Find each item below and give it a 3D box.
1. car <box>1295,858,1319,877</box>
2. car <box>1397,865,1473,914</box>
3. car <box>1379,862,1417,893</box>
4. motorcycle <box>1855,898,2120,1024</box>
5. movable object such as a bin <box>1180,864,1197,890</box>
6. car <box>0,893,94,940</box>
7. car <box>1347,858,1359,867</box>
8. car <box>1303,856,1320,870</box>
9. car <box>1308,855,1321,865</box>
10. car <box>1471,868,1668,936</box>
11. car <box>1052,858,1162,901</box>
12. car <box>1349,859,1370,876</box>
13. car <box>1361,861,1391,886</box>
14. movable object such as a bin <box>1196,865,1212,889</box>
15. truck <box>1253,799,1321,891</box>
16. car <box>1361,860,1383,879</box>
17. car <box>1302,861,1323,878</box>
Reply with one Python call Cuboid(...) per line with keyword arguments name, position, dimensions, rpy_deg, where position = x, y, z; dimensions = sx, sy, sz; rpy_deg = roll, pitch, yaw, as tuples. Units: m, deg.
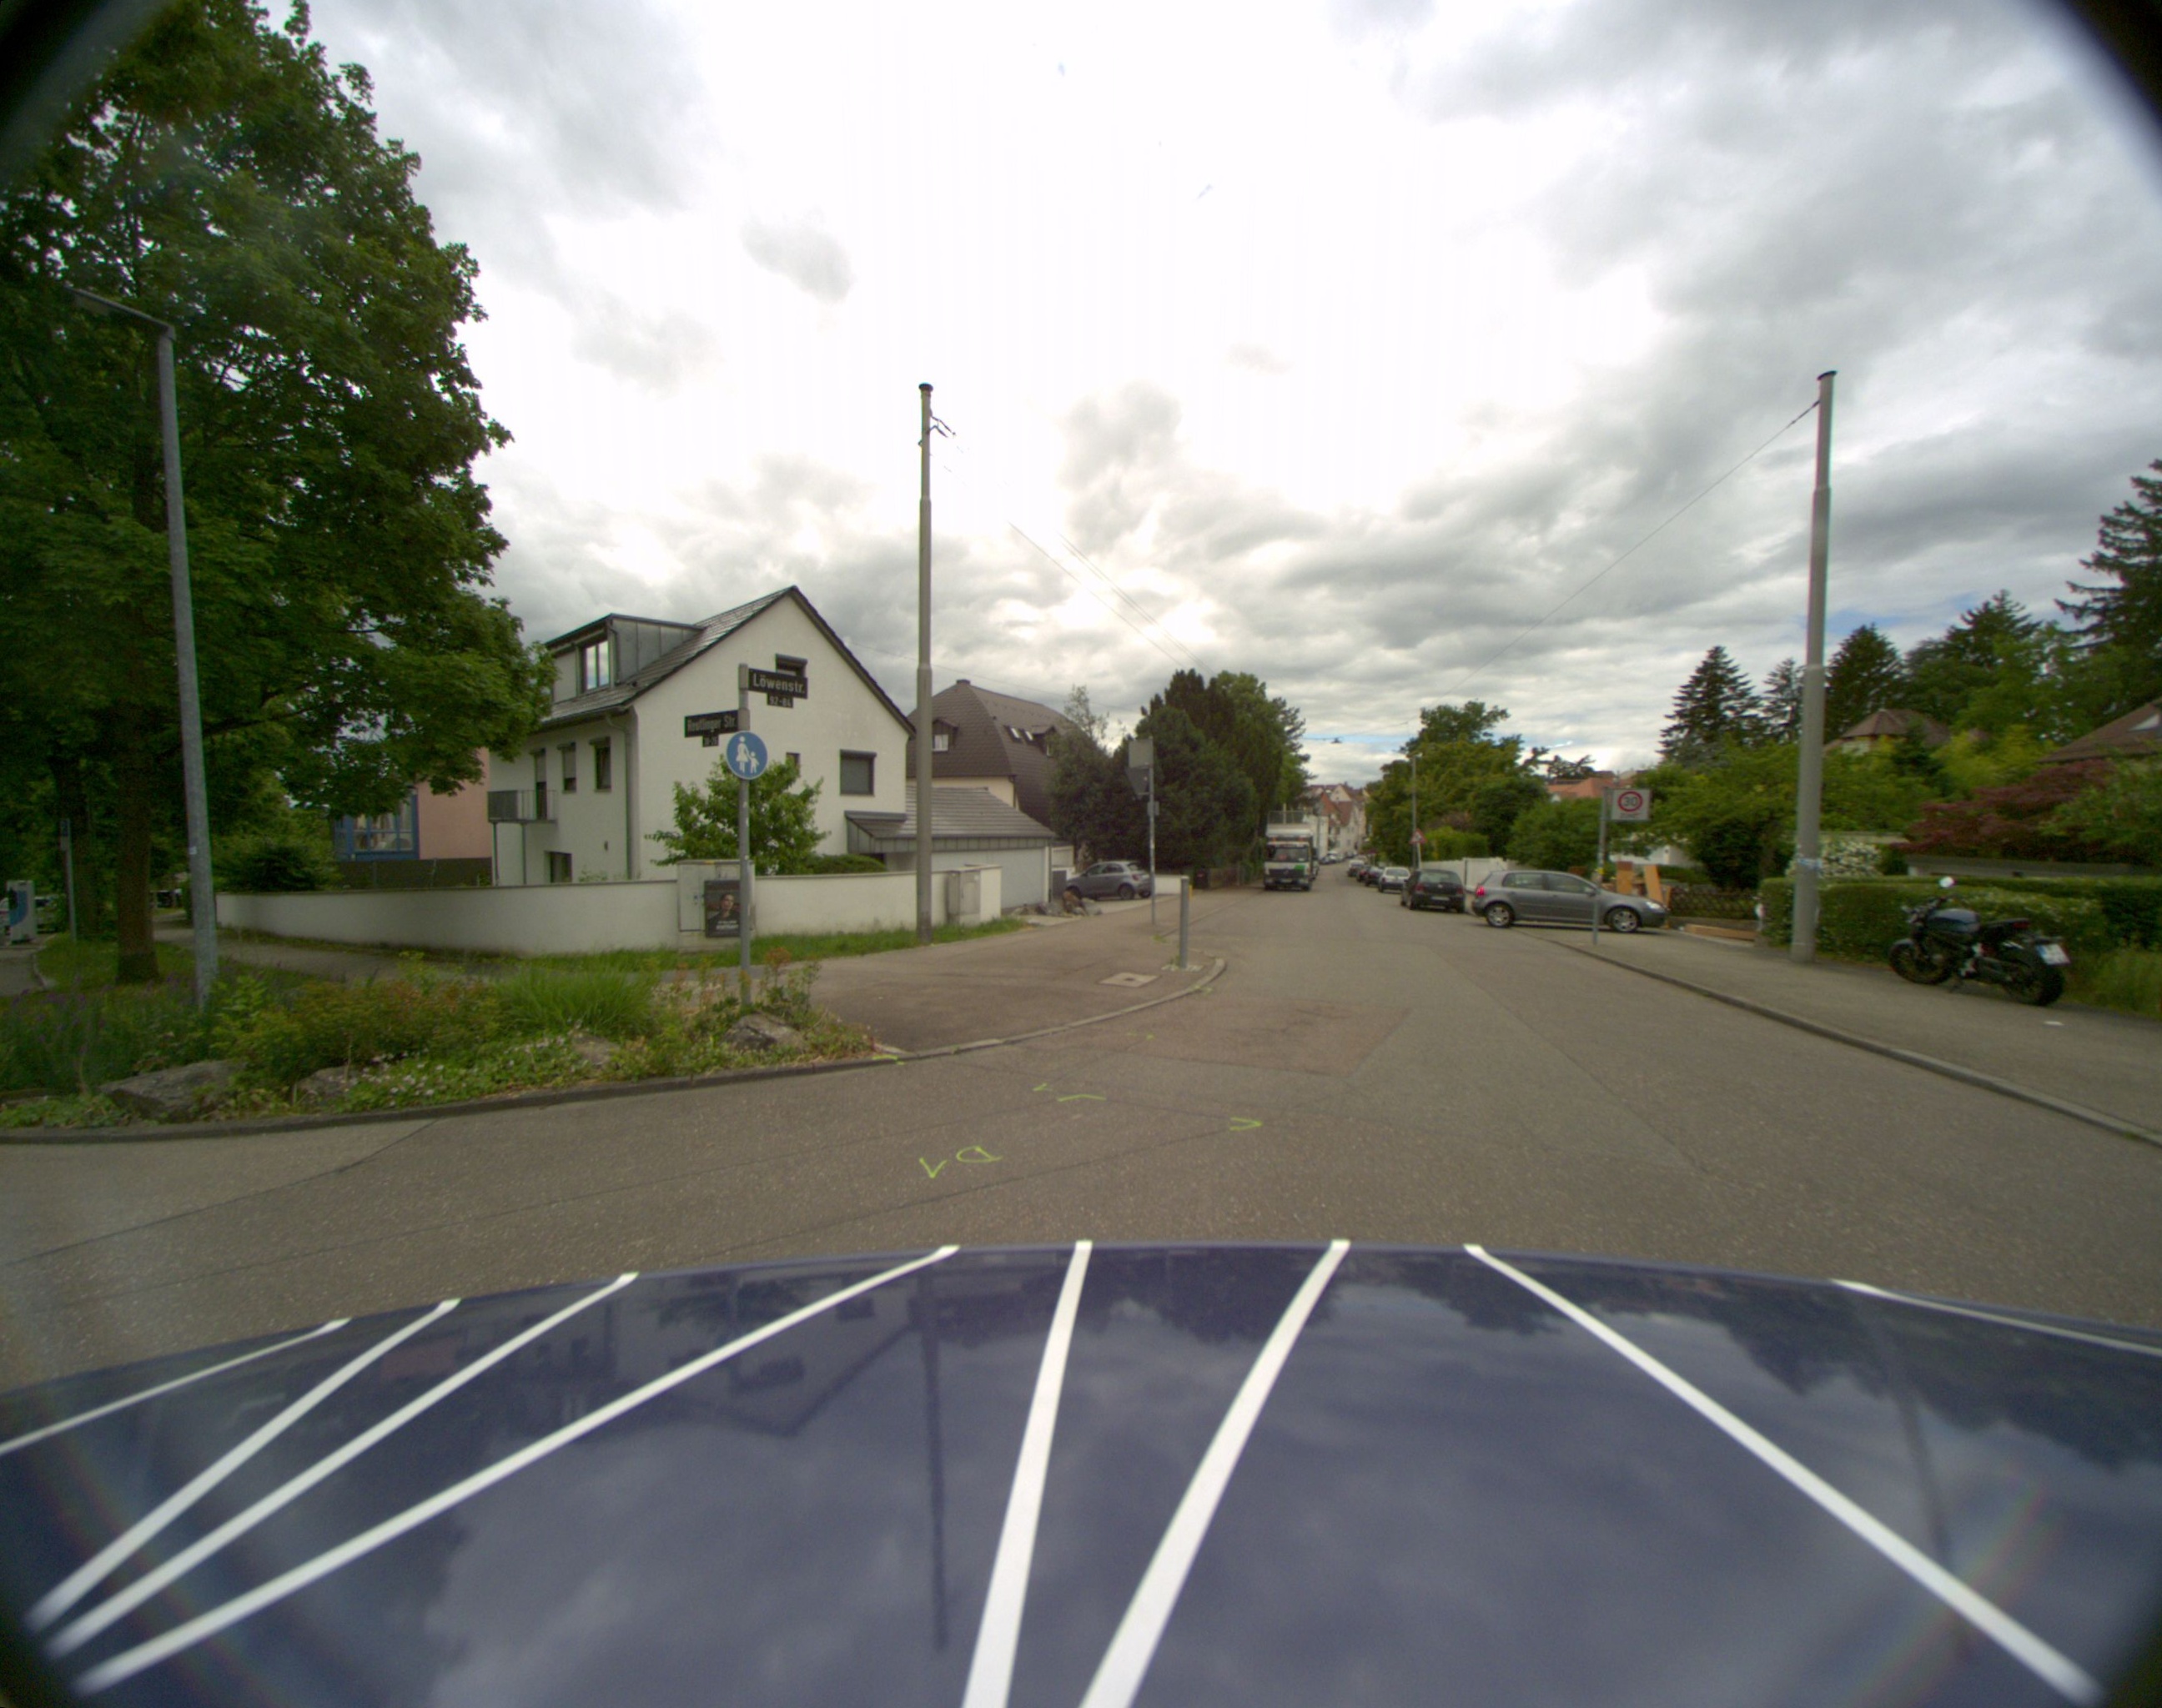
Cuboid(name="car", position=(19.833, 1.179, 66.612), dimensions=(1.873, 1.543, 3.829), rpy_deg=(1, 1, 18))
Cuboid(name="car", position=(12.171, 1.158, 26.345), dimensions=(1.756, 1.436, 3.807), rpy_deg=(3, 1, 16))
Cuboid(name="car", position=(17.321, 1.250, 41.628), dimensions=(1.618, 1.460, 3.317), rpy_deg=(4, 2, 18))
Cuboid(name="motorcycle", position=(10.317, 1.144, 8.814), dimensions=(0.774, 1.133, 2.148), rpy_deg=(1, 0, 11))
Cuboid(name="movable object such as a bin", position=(5.005, 1.072, 35.355), dimensions=(0.599, 1.200, 0.953), rpy_deg=(-2, -3, 15))
Cuboid(name="car", position=(-41.925, 2.455, 30.588), dimensions=(2.004, 1.543, 3.988), rpy_deg=(0, 1, -43))
Cuboid(name="car", position=(39.720, 1.246, 110.972), dimensions=(1.422, 1.277, 3.317), rpy_deg=(4, 2, 18))
Cuboid(name="car", position=(28.106, 1.058, 92.566), dimensions=(1.873, 1.543, 3.829), rpy_deg=(1, 1, 18))
Cuboid(name="car", position=(37.850, 0.910, 123.108), dimensions=(1.873, 1.543, 3.829), rpy_deg=(1, 1, 18))
Cuboid(name="car", position=(12.130, 1.117, 19.018), dimensions=(3.988, 1.454, 1.741), rpy_deg=(0, 0, 36))
Cuboid(name="car", position=(0.996, 1.005, 29.575), dimensions=(3.849, 1.487, 1.696), rpy_deg=(-4, -2, 31))
Cuboid(name="car", position=(31.500, 1.506, 85.976), dimensions=(1.885, 1.746, 3.707), rpy_deg=(1, 1, 15))
Cuboid(name="car", position=(20.027, 1.281, 51.659), dimensions=(1.618, 1.460, 3.317), rpy_deg=(4, 2, 18))
Cuboid(name="movable object such as a bin", position=(5.679, 1.063, 35.135), dimensions=(0.599, 1.098, 0.953), rpy_deg=(-2, -3, 15))
Cuboid(name="truck", position=(11.442, -0.475, 42.139), dimensions=(3.148, 4.525, 7.962), rpy_deg=(2, 1, 16))
Cuboid(name="car", position=(24.750, 1.314, 64.719), dimensions=(1.536, 1.460, 3.318), rpy_deg=(4, 0, 18))
Cuboid(name="car", position=(22.875, 1.500, 74.954), dimensions=(1.873, 1.543, 3.829), rpy_deg=(1, 1, 18))
